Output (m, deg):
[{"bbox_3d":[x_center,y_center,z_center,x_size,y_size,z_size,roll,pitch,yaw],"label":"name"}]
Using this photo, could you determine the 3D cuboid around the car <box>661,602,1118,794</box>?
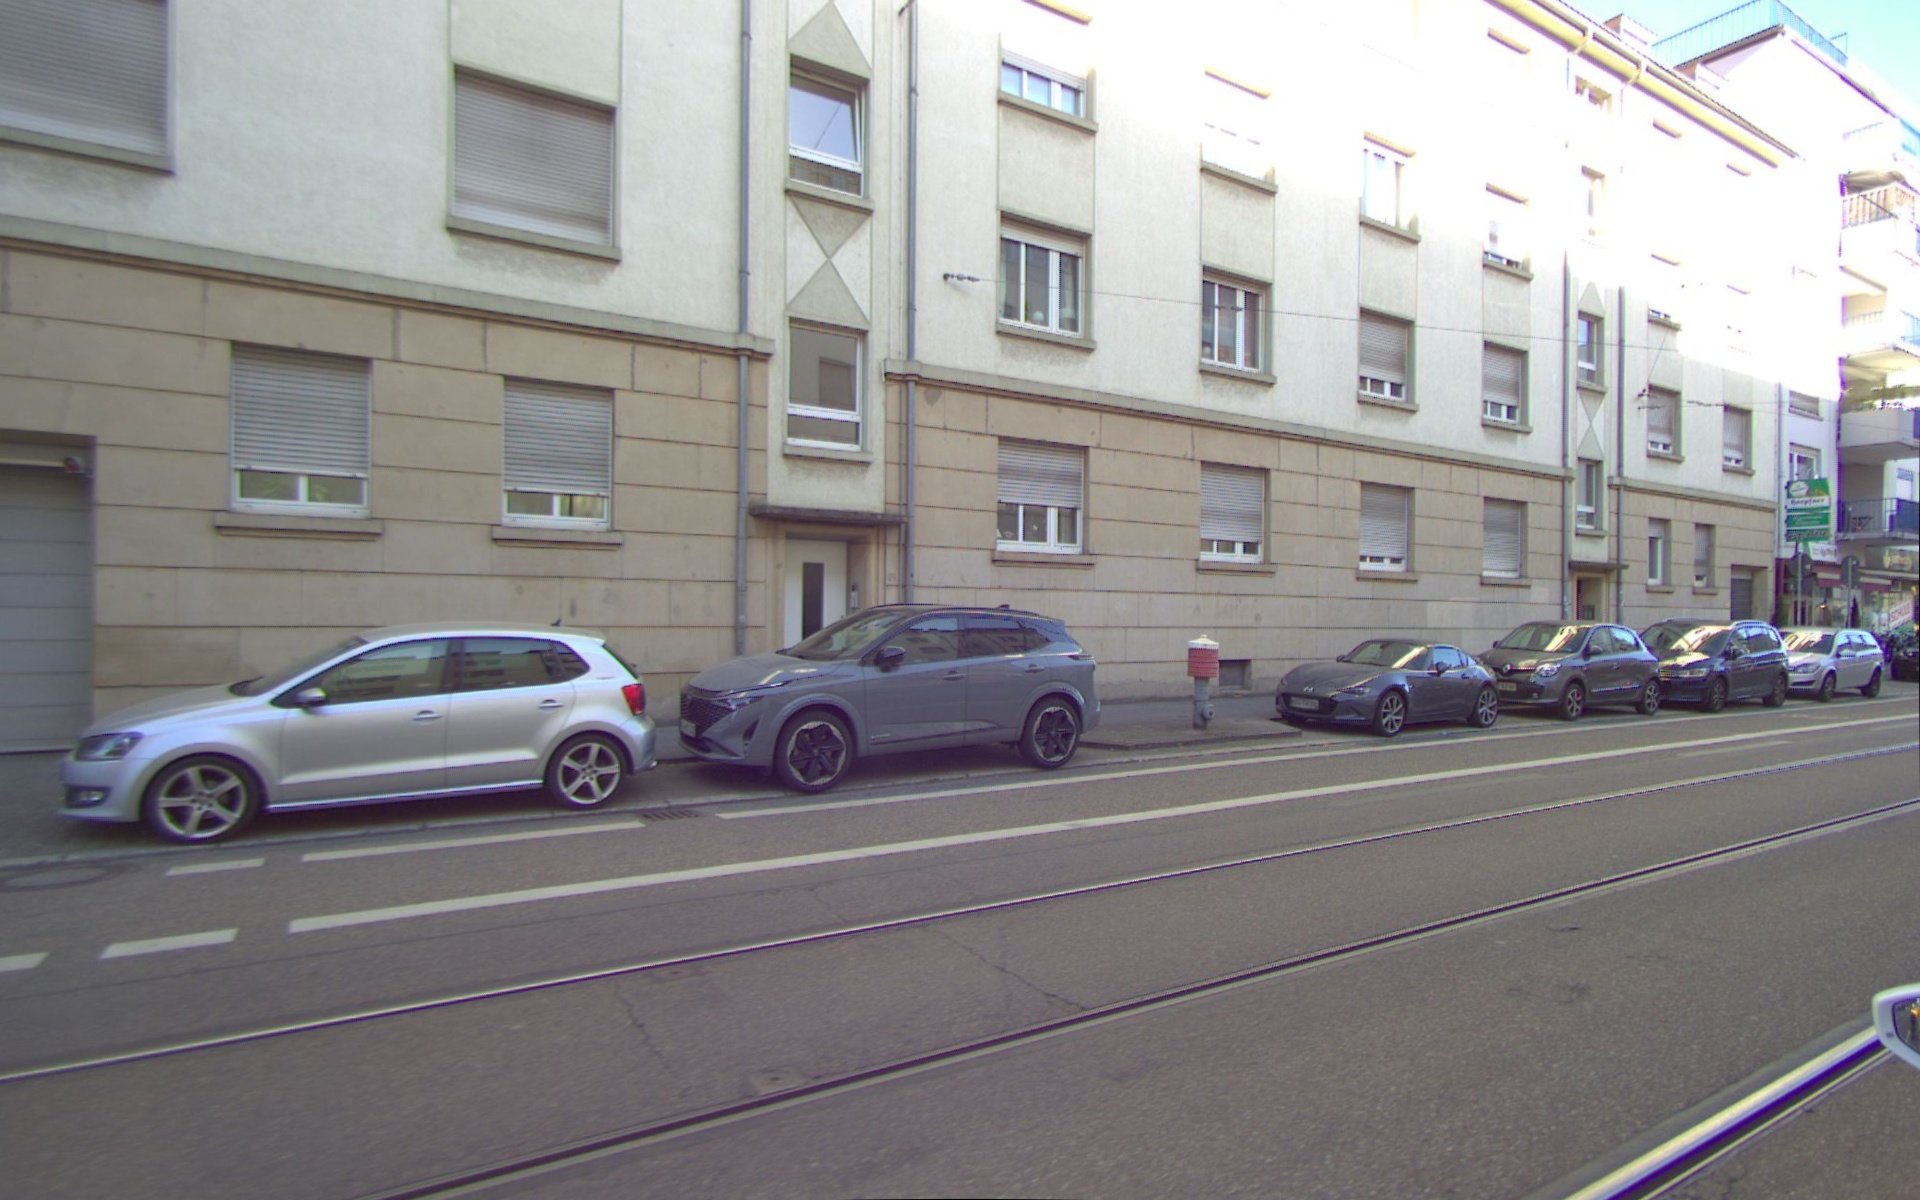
[{"bbox_3d":[-0.620,0.854,10.181,4.355,1.588,1.691,1,-1,-31],"label":"car"}]

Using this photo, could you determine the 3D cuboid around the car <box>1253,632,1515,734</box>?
[{"bbox_3d":[6.195,1.132,14.580,3.745,1.232,1.689,2,0,-33],"label":"car"}]

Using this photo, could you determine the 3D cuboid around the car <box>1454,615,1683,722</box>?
[{"bbox_3d":[10.428,1.117,17.170,3.955,1.590,1.690,2,0,-31],"label":"car"}]

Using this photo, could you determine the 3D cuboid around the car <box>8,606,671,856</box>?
[{"bbox_3d":[-4.475,0.853,7.825,3.955,1.435,1.690,2,2,-31],"label":"car"}]

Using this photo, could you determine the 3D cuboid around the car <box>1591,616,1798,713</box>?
[{"bbox_3d":[14.120,1.190,19.259,4.195,1.637,1.690,2,0,-31],"label":"car"}]

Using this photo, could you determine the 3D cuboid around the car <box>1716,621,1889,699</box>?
[{"bbox_3d":[18.783,1.295,22.342,4.338,1.530,1.690,2,0,-32],"label":"car"}]

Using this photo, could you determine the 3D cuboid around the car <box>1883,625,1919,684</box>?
[{"bbox_3d":[27.456,1.530,27.798,4.263,1.530,1.690,2,0,-31],"label":"car"}]

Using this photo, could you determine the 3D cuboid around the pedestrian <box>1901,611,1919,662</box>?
[{"bbox_3d":[38.365,1.461,40.373,0.481,2.040,0.682,1,-1,-34],"label":"pedestrian"}]

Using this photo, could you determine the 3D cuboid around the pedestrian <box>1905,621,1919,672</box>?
[{"bbox_3d":[30.218,1.451,31.470,0.712,1.569,0.695,0,0,-28],"label":"pedestrian"}]
